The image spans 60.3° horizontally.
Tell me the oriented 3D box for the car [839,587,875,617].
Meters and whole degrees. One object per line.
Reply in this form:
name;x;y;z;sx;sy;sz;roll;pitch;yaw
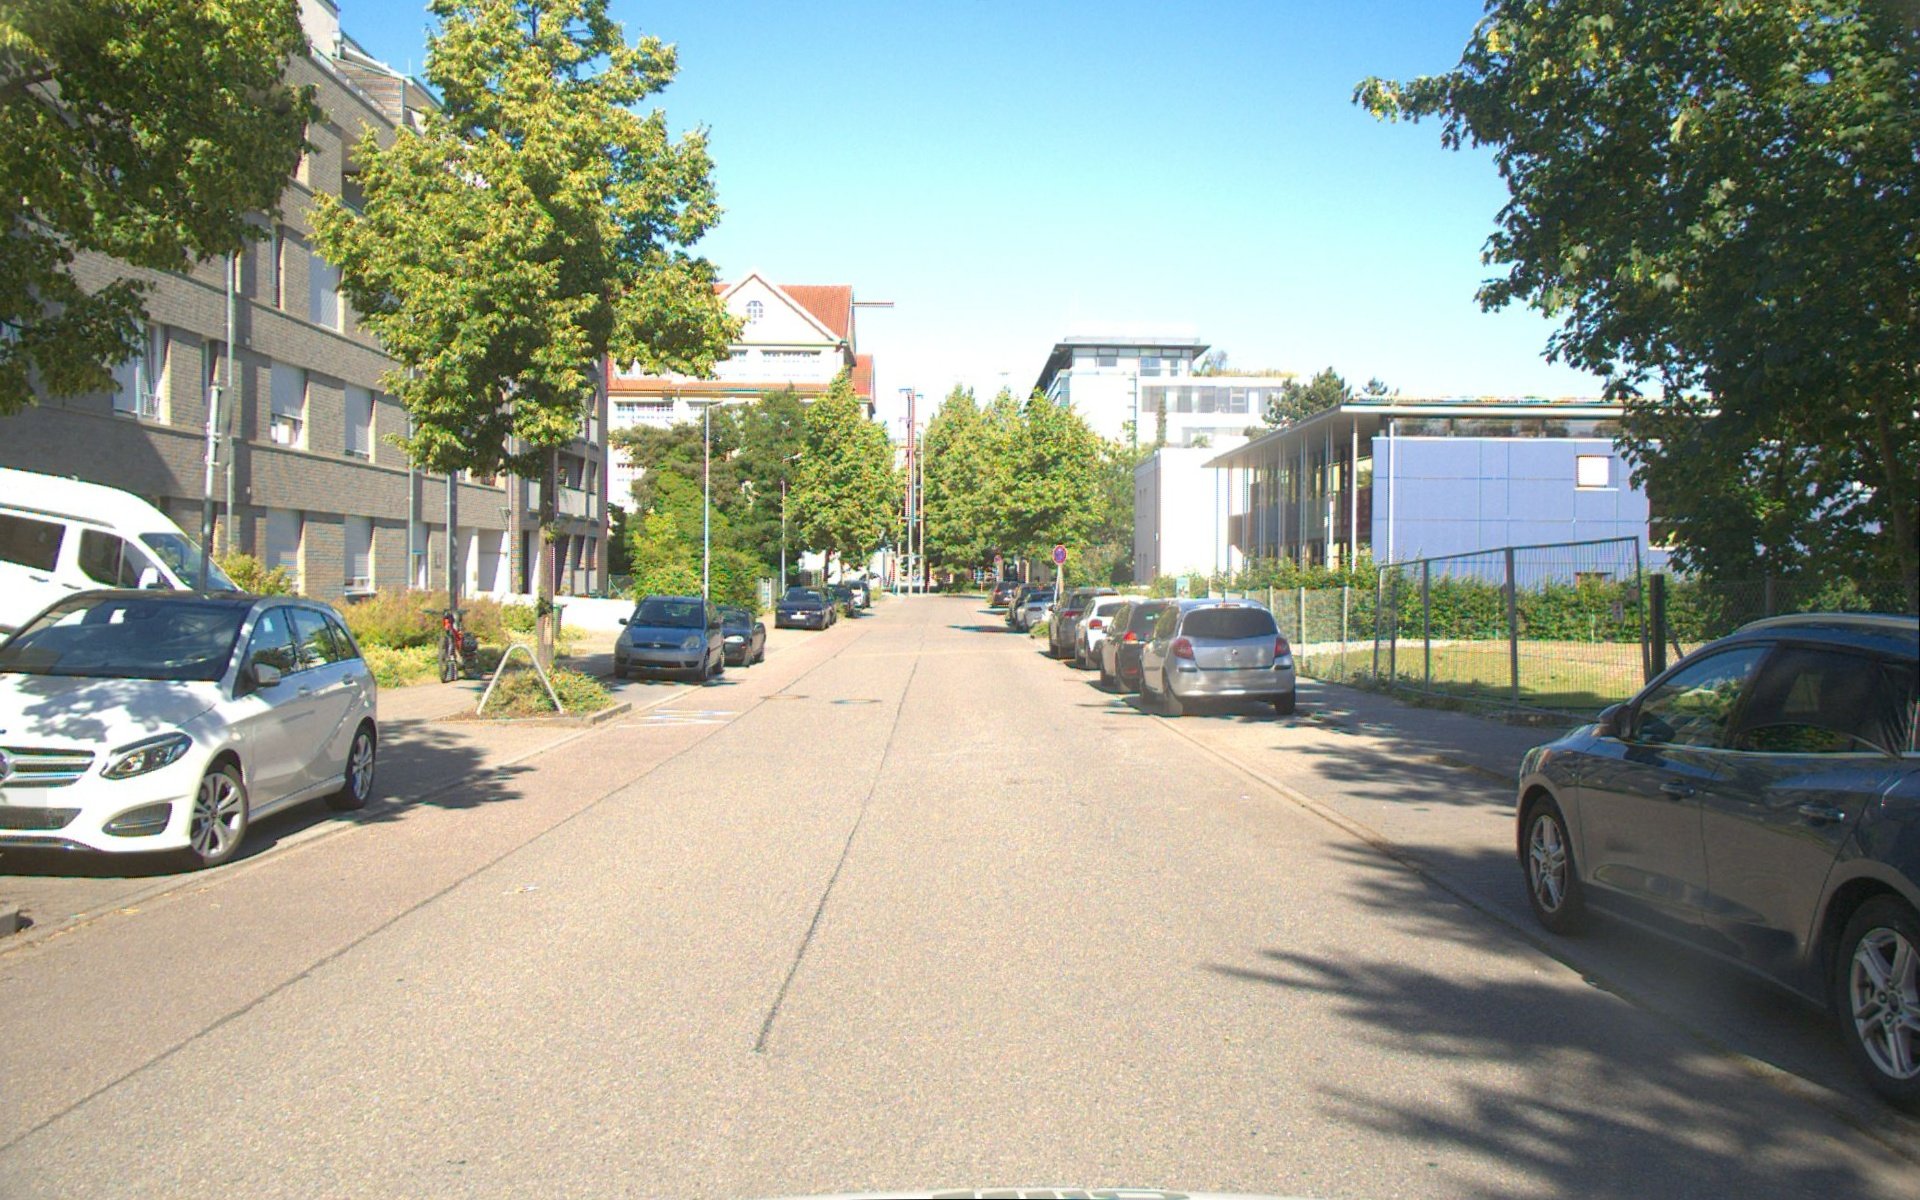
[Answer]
car;-5.514;0.108;88.994;1.741;1.557;4.000;0;0;0

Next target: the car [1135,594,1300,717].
car;3.440;0.699;22.706;1.628;1.539;4.000;0;0;0

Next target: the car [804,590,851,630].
car;-5.203;0.370;65.333;1.597;1.527;3.577;0;0;-1

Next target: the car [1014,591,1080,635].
car;3.064;0.437;58.999;1.793;1.447;4.230;-2;0;-4

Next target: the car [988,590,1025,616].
car;2.666;0.168;95.637;1.953;1.512;4.000;0;0;-1

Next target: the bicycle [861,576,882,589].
bicycle;-6.091;-1.203;113.436;1.438;0.857;0.335;0;1;-5

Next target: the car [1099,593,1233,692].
car;3.343;0.662;27.556;1.653;1.520;4.077;0;0;-1

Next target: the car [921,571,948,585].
car;-3.758;-3.309;244.430;3.905;2.048;2.000;0;1;0

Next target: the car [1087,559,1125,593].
car;8.978;-1.502;102.190;1.953;2.049;4.000;0;1;-1

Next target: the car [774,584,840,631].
car;-5.453;0.260;59.465;1.725;1.554;4.002;3;0;3

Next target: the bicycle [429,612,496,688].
bicycle;-7.972;0.774;26.567;0.277;1.144;1.986;0;0;6

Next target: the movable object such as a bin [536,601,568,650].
movable object such as a bin;-9.432;0.593;38.255;0.595;1.109;0.636;0;1;-2

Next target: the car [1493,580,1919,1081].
car;3.586;0.678;6.170;1.642;1.463;4.438;0;0;-2

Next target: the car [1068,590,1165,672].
car;3.301;0.622;35.469;1.645;1.569;3.849;0;2;-1

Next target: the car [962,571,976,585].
car;1.324;-3.286;245.840;1.953;2.048;4.000;0;2;0

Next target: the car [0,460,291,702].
car;-11.269;-0.421;19.917;5.343;2.422;1.920;8;0;-4

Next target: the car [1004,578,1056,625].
car;2.786;0.039;66.451;1.784;1.748;4.119;-2;1;-1

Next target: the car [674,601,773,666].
car;-5.123;0.690;36.223;1.566;1.238;3.875;2;1;0

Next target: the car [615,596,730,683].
car;-5.296;0.693;30.840;1.578;1.490;3.873;0;0;-2

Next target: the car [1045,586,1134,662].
car;3.117;0.537;40.495;1.691;1.681;4.325;-2;1;-1

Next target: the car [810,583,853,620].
car;-5.848;0.063;75.599;1.660;1.633;3.942;0;0;0

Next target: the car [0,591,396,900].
car;-5.033;0.738;10.620;1.626;1.559;4.284;0;1;-4

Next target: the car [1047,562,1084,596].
car;6.499;-1.279;102.025;1.982;2.049;4.000;0;0;-1

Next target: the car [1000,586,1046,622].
car;2.743;0.171;72.403;1.797;1.542;3.879;0;0;-1
